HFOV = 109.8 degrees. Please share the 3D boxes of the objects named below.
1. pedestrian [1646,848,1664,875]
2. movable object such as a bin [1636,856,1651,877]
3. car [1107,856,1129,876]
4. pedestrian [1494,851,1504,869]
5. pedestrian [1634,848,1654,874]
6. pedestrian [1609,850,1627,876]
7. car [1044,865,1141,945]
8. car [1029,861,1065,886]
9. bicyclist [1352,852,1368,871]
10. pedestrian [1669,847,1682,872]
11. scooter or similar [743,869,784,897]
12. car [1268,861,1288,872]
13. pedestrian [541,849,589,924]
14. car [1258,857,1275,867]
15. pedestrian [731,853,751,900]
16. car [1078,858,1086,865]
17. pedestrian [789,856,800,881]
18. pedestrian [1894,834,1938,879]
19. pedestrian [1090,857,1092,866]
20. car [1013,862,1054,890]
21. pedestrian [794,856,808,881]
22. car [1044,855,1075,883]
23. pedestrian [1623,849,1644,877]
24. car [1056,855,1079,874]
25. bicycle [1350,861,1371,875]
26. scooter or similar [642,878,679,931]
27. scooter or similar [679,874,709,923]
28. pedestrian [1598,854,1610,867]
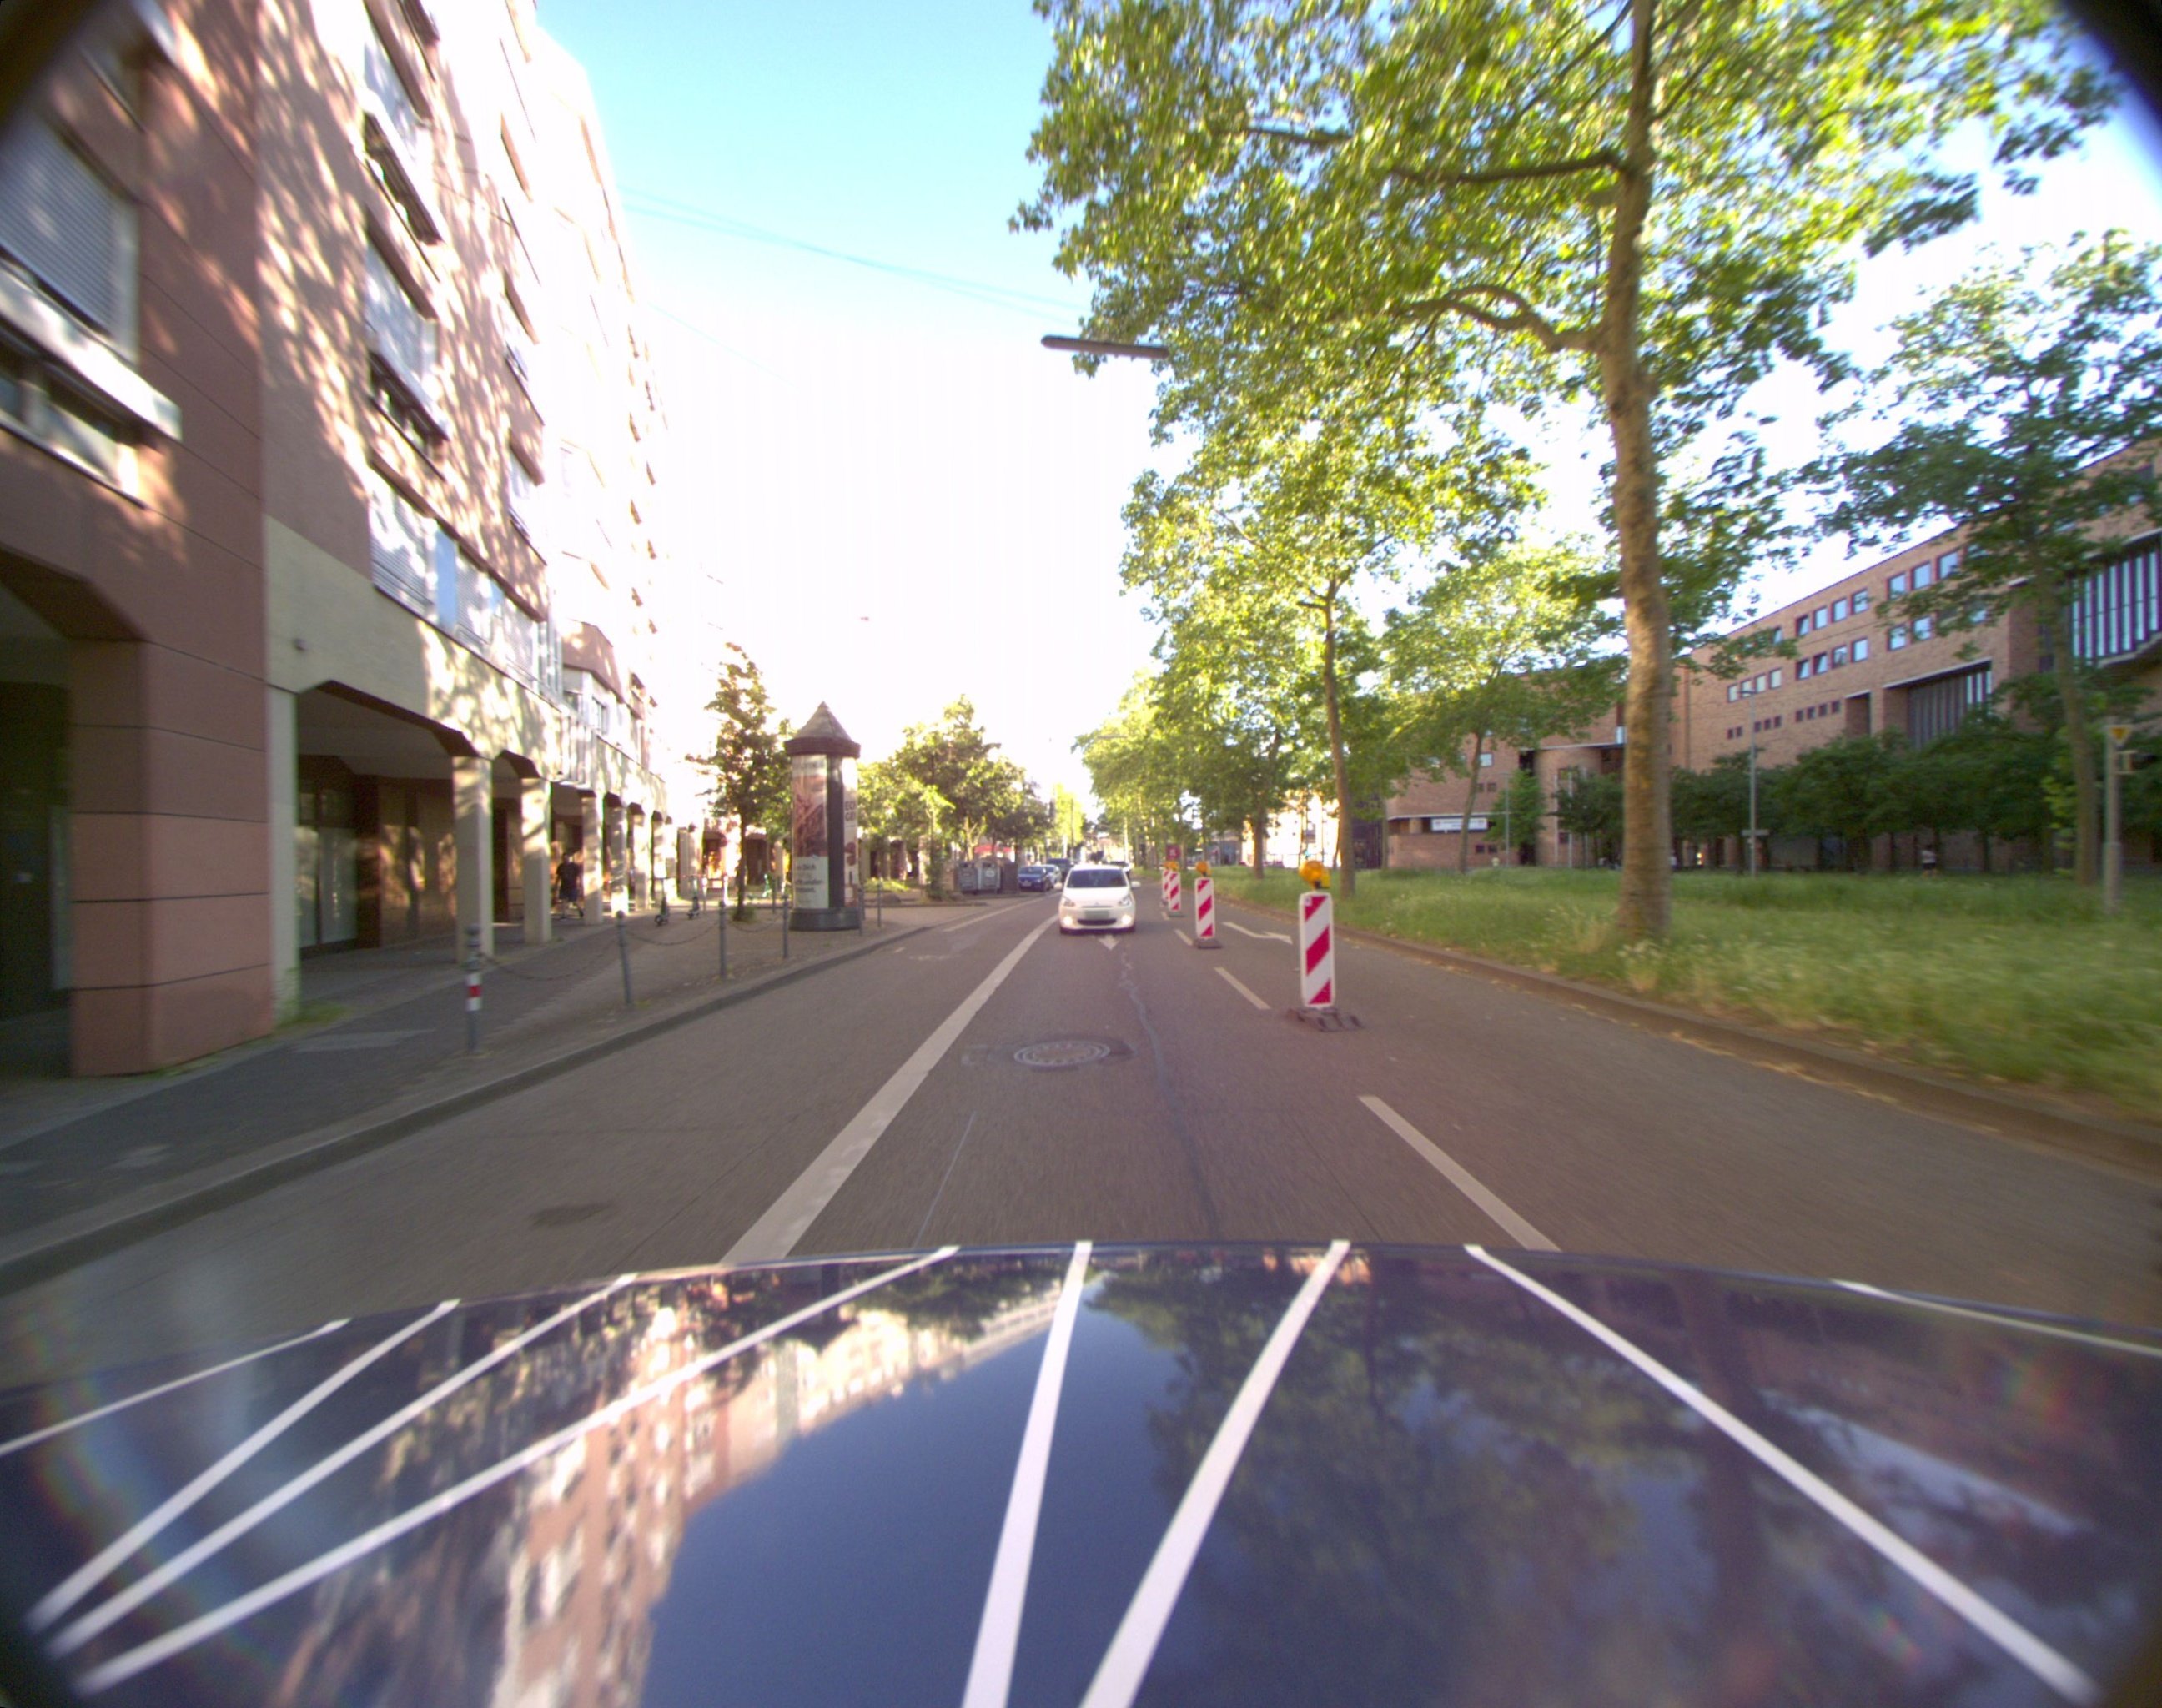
[{"bbox_3d":[35.637,0.449,47.165,0.612,1.669,0.596,-1,0,1],"label":"pedestrian"},{"bbox_3d":[34.366,0.747,46.461,0.356,1.271,0.756,-1,0,1],"label":"movable object such as a bin"},{"bbox_3d":[3.142,0.997,65.699,1.824,1.630,4.001,-1,0,2],"label":"car"},{"bbox_3d":[35.412,0.530,64.352,0.417,1.534,0.653,-1,0,0],"label":"pedestrian"},{"bbox_3d":[35.052,0.431,47.300,0.665,1.607,0.756,-1,0,1],"label":"pedestrian"},{"bbox_3d":[34.526,0.581,48.860,0.665,1.607,0.756,-1,0,1],"label":"pedestrian"},{"bbox_3d":[0.403,1.041,17.113,1.720,1.442,4.427,-3,-1,6],"label":"car"},{"bbox_3d":[-2.098,1.211,47.683,1.705,1.457,4.177,0,0,6],"label":"car"},{"bbox_3d":[23.658,0.649,64.430,0.943,1.561,1.209,-1,0,2],"label":"bicyclist"},{"bbox_3d":[36.442,0.348,46.578,0.484,1.496,0.463,-1,0,4],"label":"pedestrian"},{"bbox_3d":[-13.383,1.227,32.019,1.457,1.139,0.559,-1,0,7],"label":"scooter or similar"},{"bbox_3d":[26.489,1.610,102.407,1.675,1.420,4.150,-1,0,1],"label":"car"},{"bbox_3d":[-13.997,0.874,20.632,0.819,1.970,0.847,-1,0,-18],"label":"pedestrian"},{"bbox_3d":[26.493,1.094,108.758,1.617,1.420,3.222,-1,0,1],"label":"car"},{"bbox_3d":[-14.635,0.961,32.691,0.642,1.970,0.775,-1,0,-17],"label":"pedestrian"},{"bbox_3d":[0.258,1.791,180.552,1.865,1.724,4.019,-1,0,1],"label":"car"},{"bbox_3d":[-21.314,1.065,56.568,0.623,1.859,0.707,-2,1,-29],"label":"pedestrian"},{"bbox_3d":[34.444,0.109,31.351,0.826,1.820,0.901,-1,0,2],"label":"pedestrian"},{"bbox_3d":[2.337,1.807,178.622,0.614,2.002,0.530,-1,0,0],"label":"pedestrian"},{"bbox_3d":[-2.554,1.172,41.778,1.705,1.475,4.250,0,0,5],"label":"car"},{"bbox_3d":[-20.506,1.062,55.581,0.779,1.795,0.724,-1,0,-31],"label":"pedestrian"},{"bbox_3d":[-1.468,1.035,54.242,2.043,1.932,5.198,1,0,0],"label":"car"},{"bbox_3d":[34.354,0.535,47.249,0.665,1.712,0.797,-1,0,1],"label":"pedestrian"},{"bbox_3d":[-1.252,0.979,71.854,1.802,1.714,4.461,1,0,3],"label":"car"},{"bbox_3d":[23.652,1.178,64.307,0.958,1.119,2.436,-1,1,2],"label":"bicycle"},{"bbox_3d":[-10.245,1.203,18.543,0.486,1.209,1.448,-1,0,-18],"label":"scooter or similar"},{"bbox_3d":[-10.687,1.197,21.019,0.486,1.266,1.448,-1,0,-18],"label":"scooter or similar"},{"bbox_3d":[46.754,0.560,67.917,0.666,1.191,0.630,-1,0,-8],"label":"pedestrian"}]
